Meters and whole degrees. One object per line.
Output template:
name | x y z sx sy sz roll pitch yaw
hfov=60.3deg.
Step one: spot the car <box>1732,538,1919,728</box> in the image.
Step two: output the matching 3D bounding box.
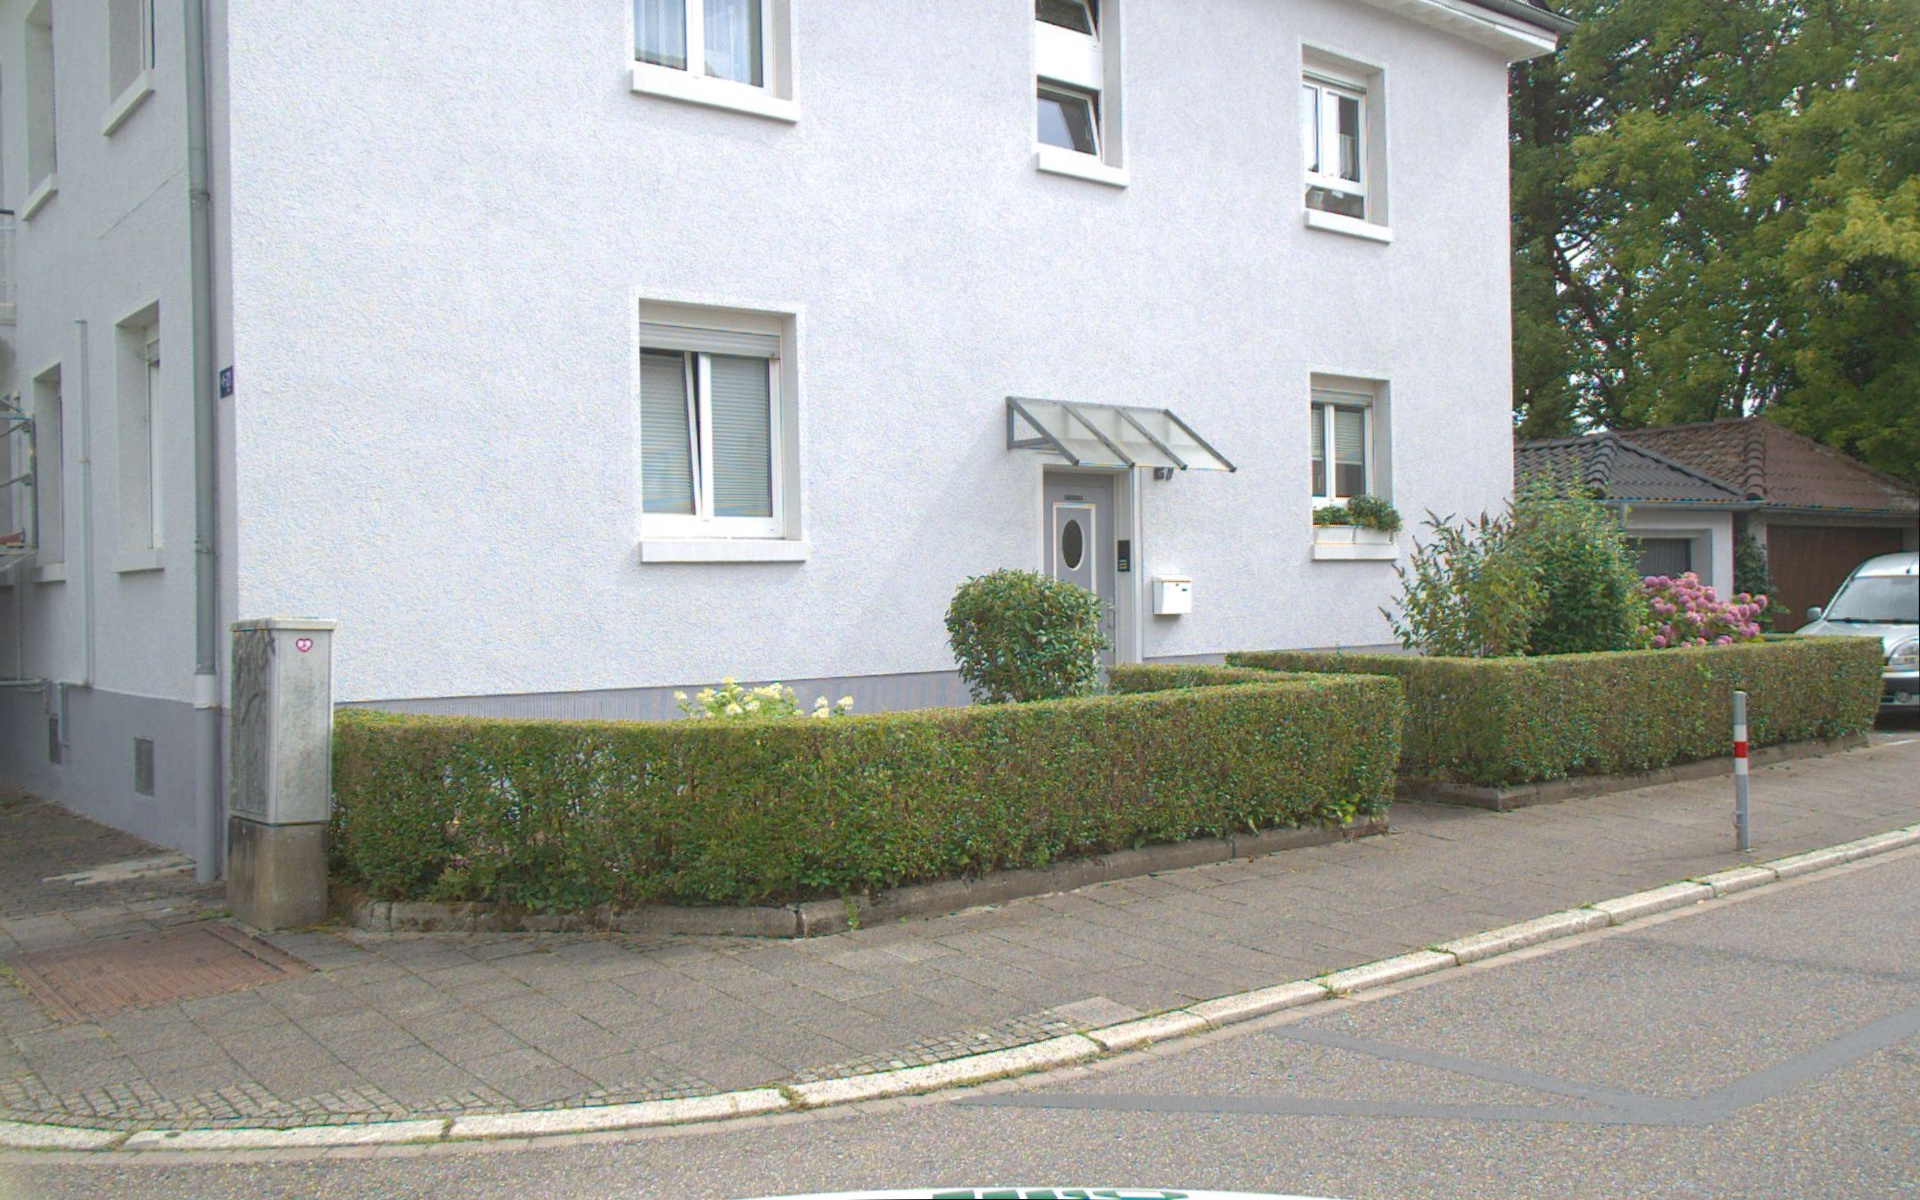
car | 10.455 0.289 18.156 3.958 1.870 1.973 -2 0 -38
